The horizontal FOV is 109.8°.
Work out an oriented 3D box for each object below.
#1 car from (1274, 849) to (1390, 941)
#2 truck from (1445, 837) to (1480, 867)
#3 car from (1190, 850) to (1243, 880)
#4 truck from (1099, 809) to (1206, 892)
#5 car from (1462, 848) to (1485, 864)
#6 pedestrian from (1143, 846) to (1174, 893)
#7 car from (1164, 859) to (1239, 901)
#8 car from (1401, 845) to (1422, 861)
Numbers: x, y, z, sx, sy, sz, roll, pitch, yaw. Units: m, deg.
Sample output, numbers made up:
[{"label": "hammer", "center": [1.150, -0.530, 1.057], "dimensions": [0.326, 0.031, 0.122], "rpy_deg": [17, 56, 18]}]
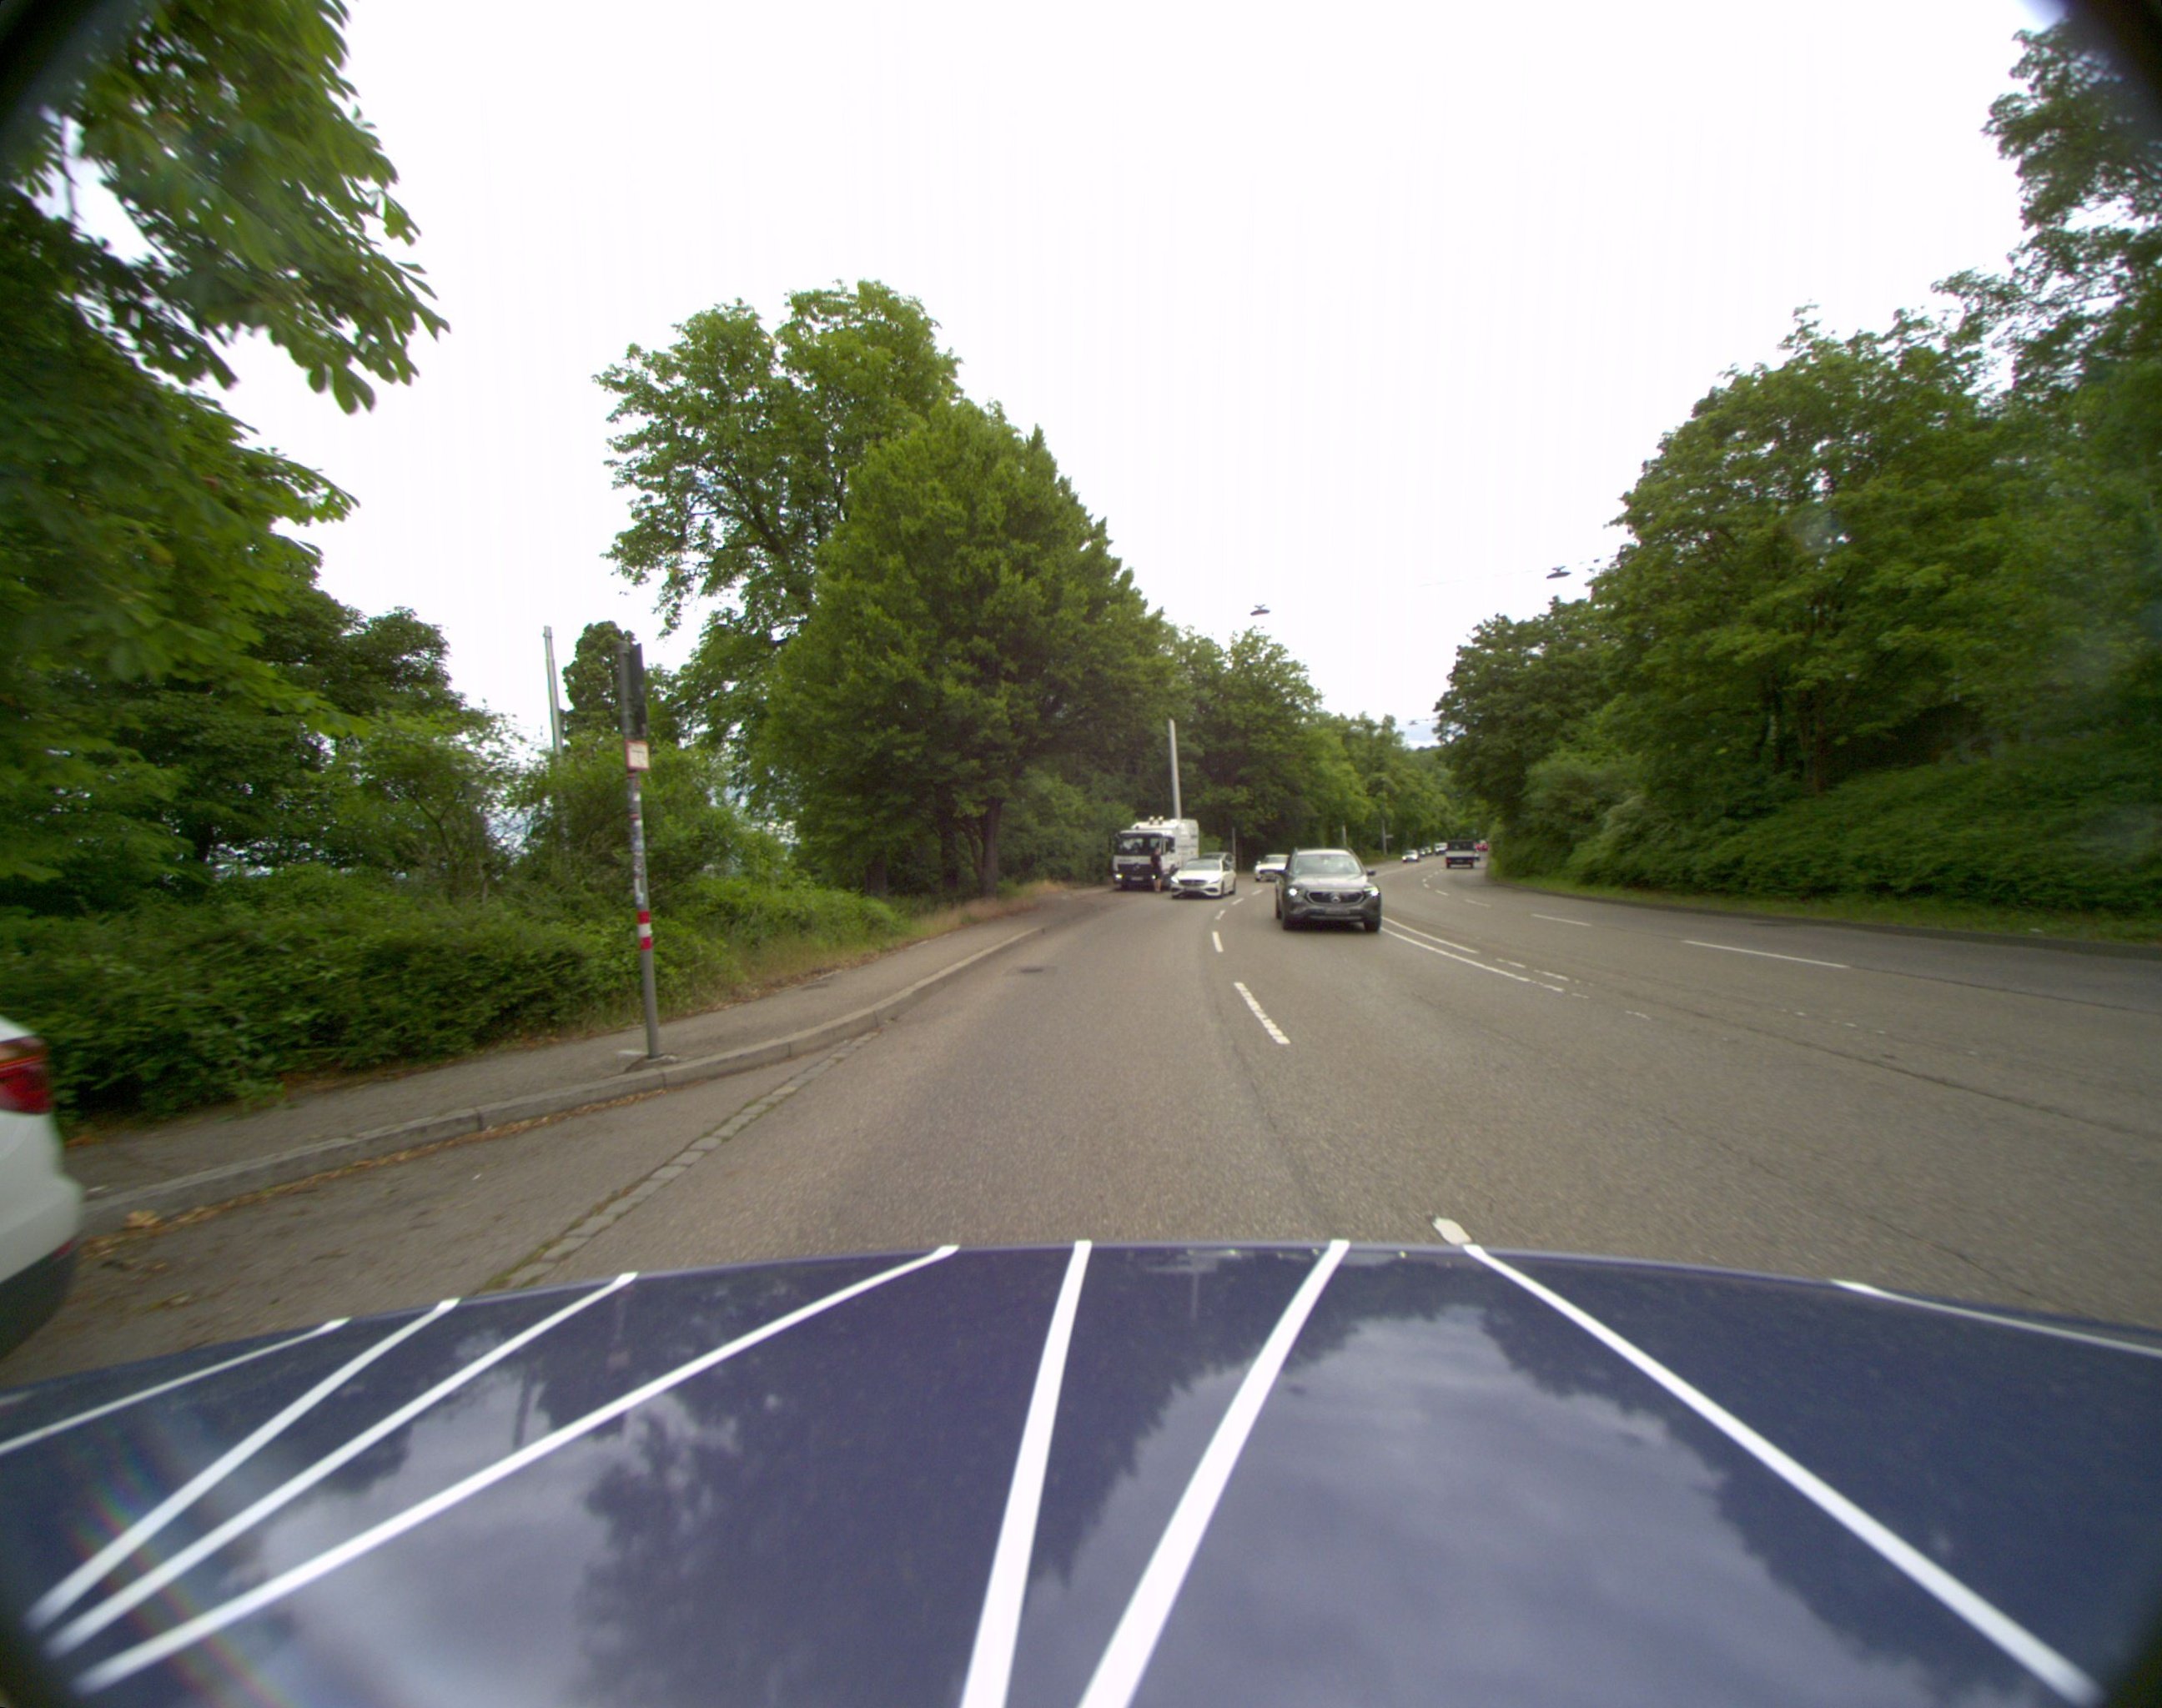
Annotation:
[{"label": "car", "center": [5.139, 0.743, 16.074], "dimensions": [1.869, 1.653, 4.196], "rpy_deg": [-1, 1, 12]}, {"label": "truck", "center": [31.635, -0.178, 62.861], "dimensions": [2.162, 2.357, 6.691], "rpy_deg": [-1, 0, 30]}, {"label": "car", "center": [7.619, 0.582, 42.479], "dimensions": [1.804, 1.515, 4.007], "rpy_deg": [-3, 0, 26]}, {"label": "truck", "center": [3.406, -0.146, 33.941], "dimensions": [2.485, 3.162, 7.240], "rpy_deg": [-4, -1, 23]}, {"label": "car", "center": [43.328, 0.187, 83.912], "dimensions": [1.856, 1.685, 4.445], "rpy_deg": [2, 2, 32]}, {"label": "pedestrian", "center": [3.112, 0.615, 30.512], "dimensions": [0.917, 1.823, 0.986], "rpy_deg": [1, 1, 28]}, {"label": "car", "center": [4.471, 0.898, 27.620], "dimensions": [1.894, 1.289, 4.333], "rpy_deg": [-1, 1, 20]}, {"label": "car", "center": [37.740, -0.118, 86.834], "dimensions": [1.695, 1.573, 4.005], "rpy_deg": [-4, -1, 17]}]
